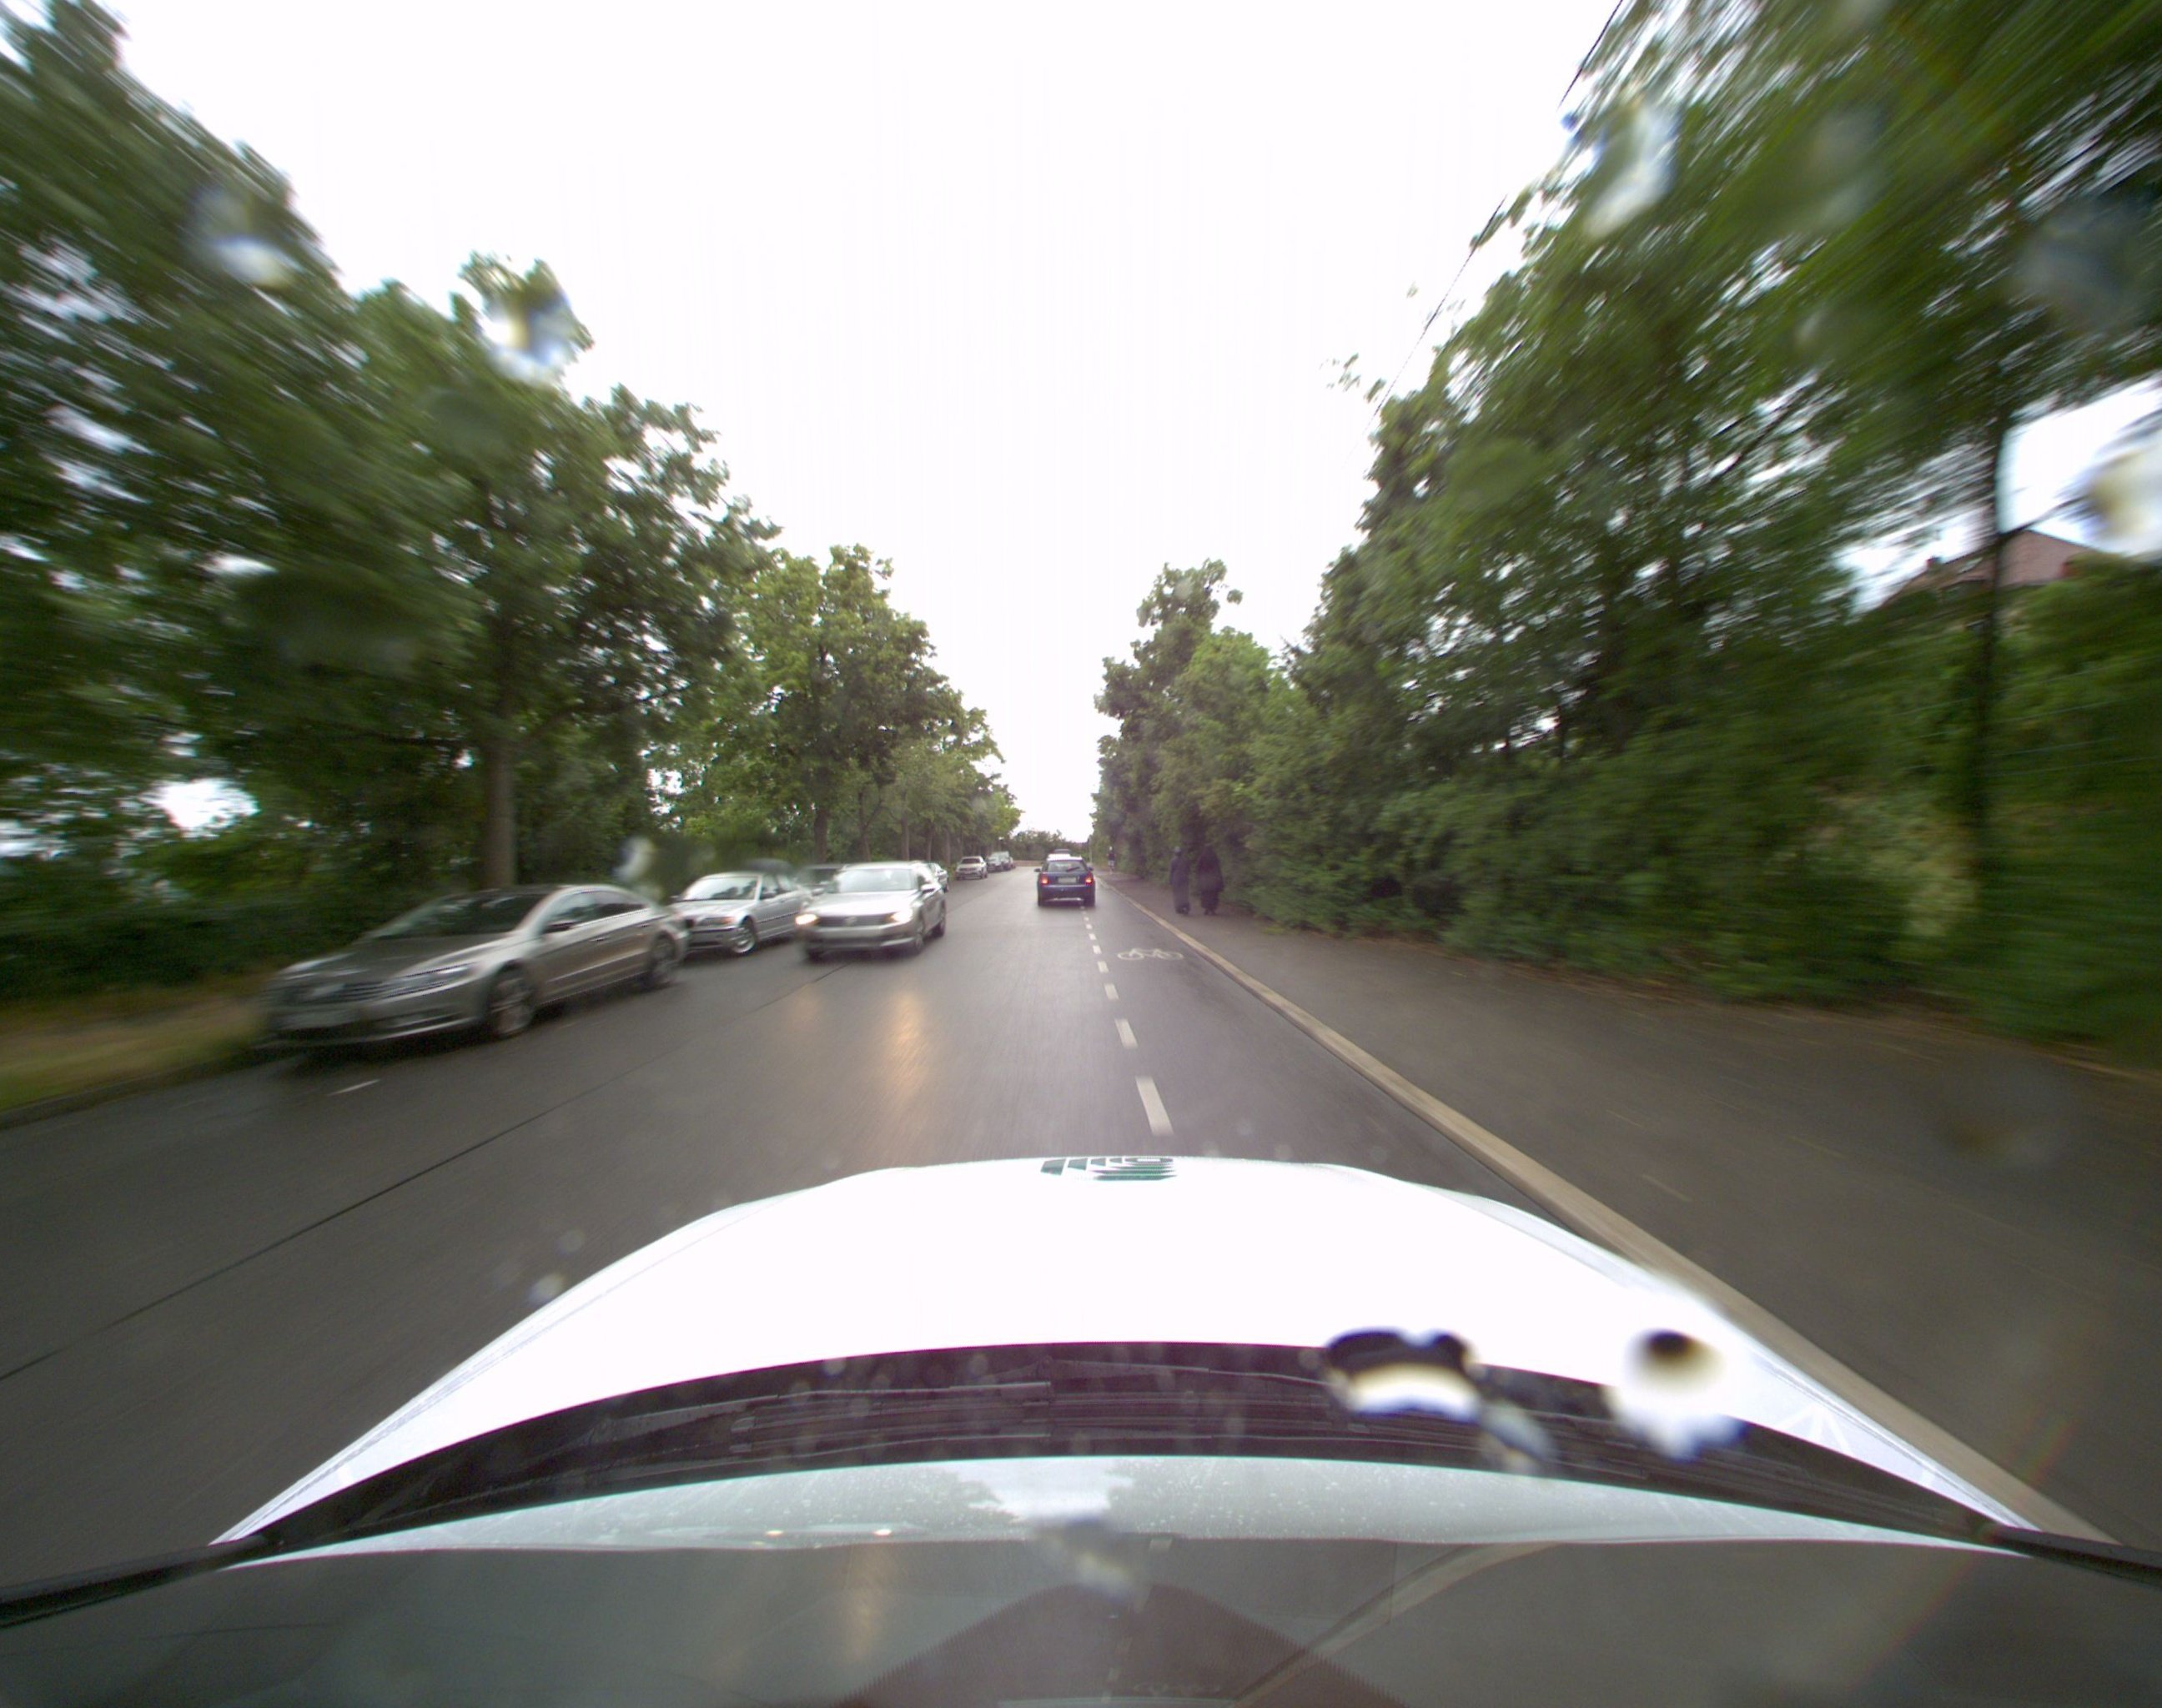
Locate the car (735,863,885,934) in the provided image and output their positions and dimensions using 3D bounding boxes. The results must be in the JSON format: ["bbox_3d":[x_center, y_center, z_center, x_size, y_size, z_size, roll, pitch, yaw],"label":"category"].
[{"bbox_3d":[-6.461,0.991,20.079,1.987,1.405,4.714,-3,0,1],"label":"car"}]

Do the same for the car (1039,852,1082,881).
[{"bbox_3d":[-1.116,0.644,42.385,1.888,1.389,3.991,-2,-1,-6],"label":"car"}]

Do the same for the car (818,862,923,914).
[{"bbox_3d":[-6.554,1.010,25.976,1.987,1.405,4.714,-3,0,1],"label":"car"}]

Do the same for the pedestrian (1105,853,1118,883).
[{"bbox_3d":[1.960,0.893,52.606,0.714,1.835,1.021,-3,0,0],"label":"pedestrian"}]

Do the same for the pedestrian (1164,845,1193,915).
[{"bbox_3d":[2.247,0.591,18.806,0.550,1.566,0.487,-3,0,3],"label":"pedestrian"}]

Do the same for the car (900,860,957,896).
[{"bbox_3d":[-6.701,1.011,36.147,1.750,1.402,4.416,-2,0,-1],"label":"car"}]

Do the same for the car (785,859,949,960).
[{"bbox_3d":[-3.482,0.838,14.102,1.879,1.402,4.250,-2,0,-3],"label":"car"}]

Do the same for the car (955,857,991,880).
[{"bbox_3d":[-7.167,0.934,54.305,1.683,1.437,4.256,-2,0,1],"label":"car"}]

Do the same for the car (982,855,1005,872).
[{"bbox_3d":[-7.934,0.873,74.059,1.793,1.437,4.252,-2,0,-2],"label":"car"}]

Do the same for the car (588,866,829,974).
[{"bbox_3d":[-6.472,1.059,14.898,1.986,1.405,4.717,-3,1,2],"label":"car"}]

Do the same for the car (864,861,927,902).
[{"bbox_3d":[-6.850,0.996,30.415,1.592,1.362,3.995,-2,0,-4],"label":"car"}]

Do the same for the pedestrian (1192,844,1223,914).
[{"bbox_3d":[2.906,0.561,18.730,0.593,1.566,0.670,-2,0,3],"label":"pedestrian"}]

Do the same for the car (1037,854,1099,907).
[{"bbox_3d":[-0.477,0.763,25.463,1.743,1.407,3.995,1,1,-4],"label":"car"}]

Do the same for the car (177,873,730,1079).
[{"bbox_3d":[-6.177,1.043,9.203,1.987,1.309,5.355,-4,1,0],"label":"car"}]

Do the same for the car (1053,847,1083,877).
[{"bbox_3d":[-1.029,0.653,62.175,1.786,1.953,3.992,-6,-3,-5],"label":"car"}]

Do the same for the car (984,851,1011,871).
[{"bbox_3d":[-8.202,0.701,80.026,2.077,1.819,5.378,-2,0,-1],"label":"car"}]

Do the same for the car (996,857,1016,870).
[{"bbox_3d":[-8.348,1.060,91.058,1.783,1.297,4.326,-2,0,1],"label":"car"}]
